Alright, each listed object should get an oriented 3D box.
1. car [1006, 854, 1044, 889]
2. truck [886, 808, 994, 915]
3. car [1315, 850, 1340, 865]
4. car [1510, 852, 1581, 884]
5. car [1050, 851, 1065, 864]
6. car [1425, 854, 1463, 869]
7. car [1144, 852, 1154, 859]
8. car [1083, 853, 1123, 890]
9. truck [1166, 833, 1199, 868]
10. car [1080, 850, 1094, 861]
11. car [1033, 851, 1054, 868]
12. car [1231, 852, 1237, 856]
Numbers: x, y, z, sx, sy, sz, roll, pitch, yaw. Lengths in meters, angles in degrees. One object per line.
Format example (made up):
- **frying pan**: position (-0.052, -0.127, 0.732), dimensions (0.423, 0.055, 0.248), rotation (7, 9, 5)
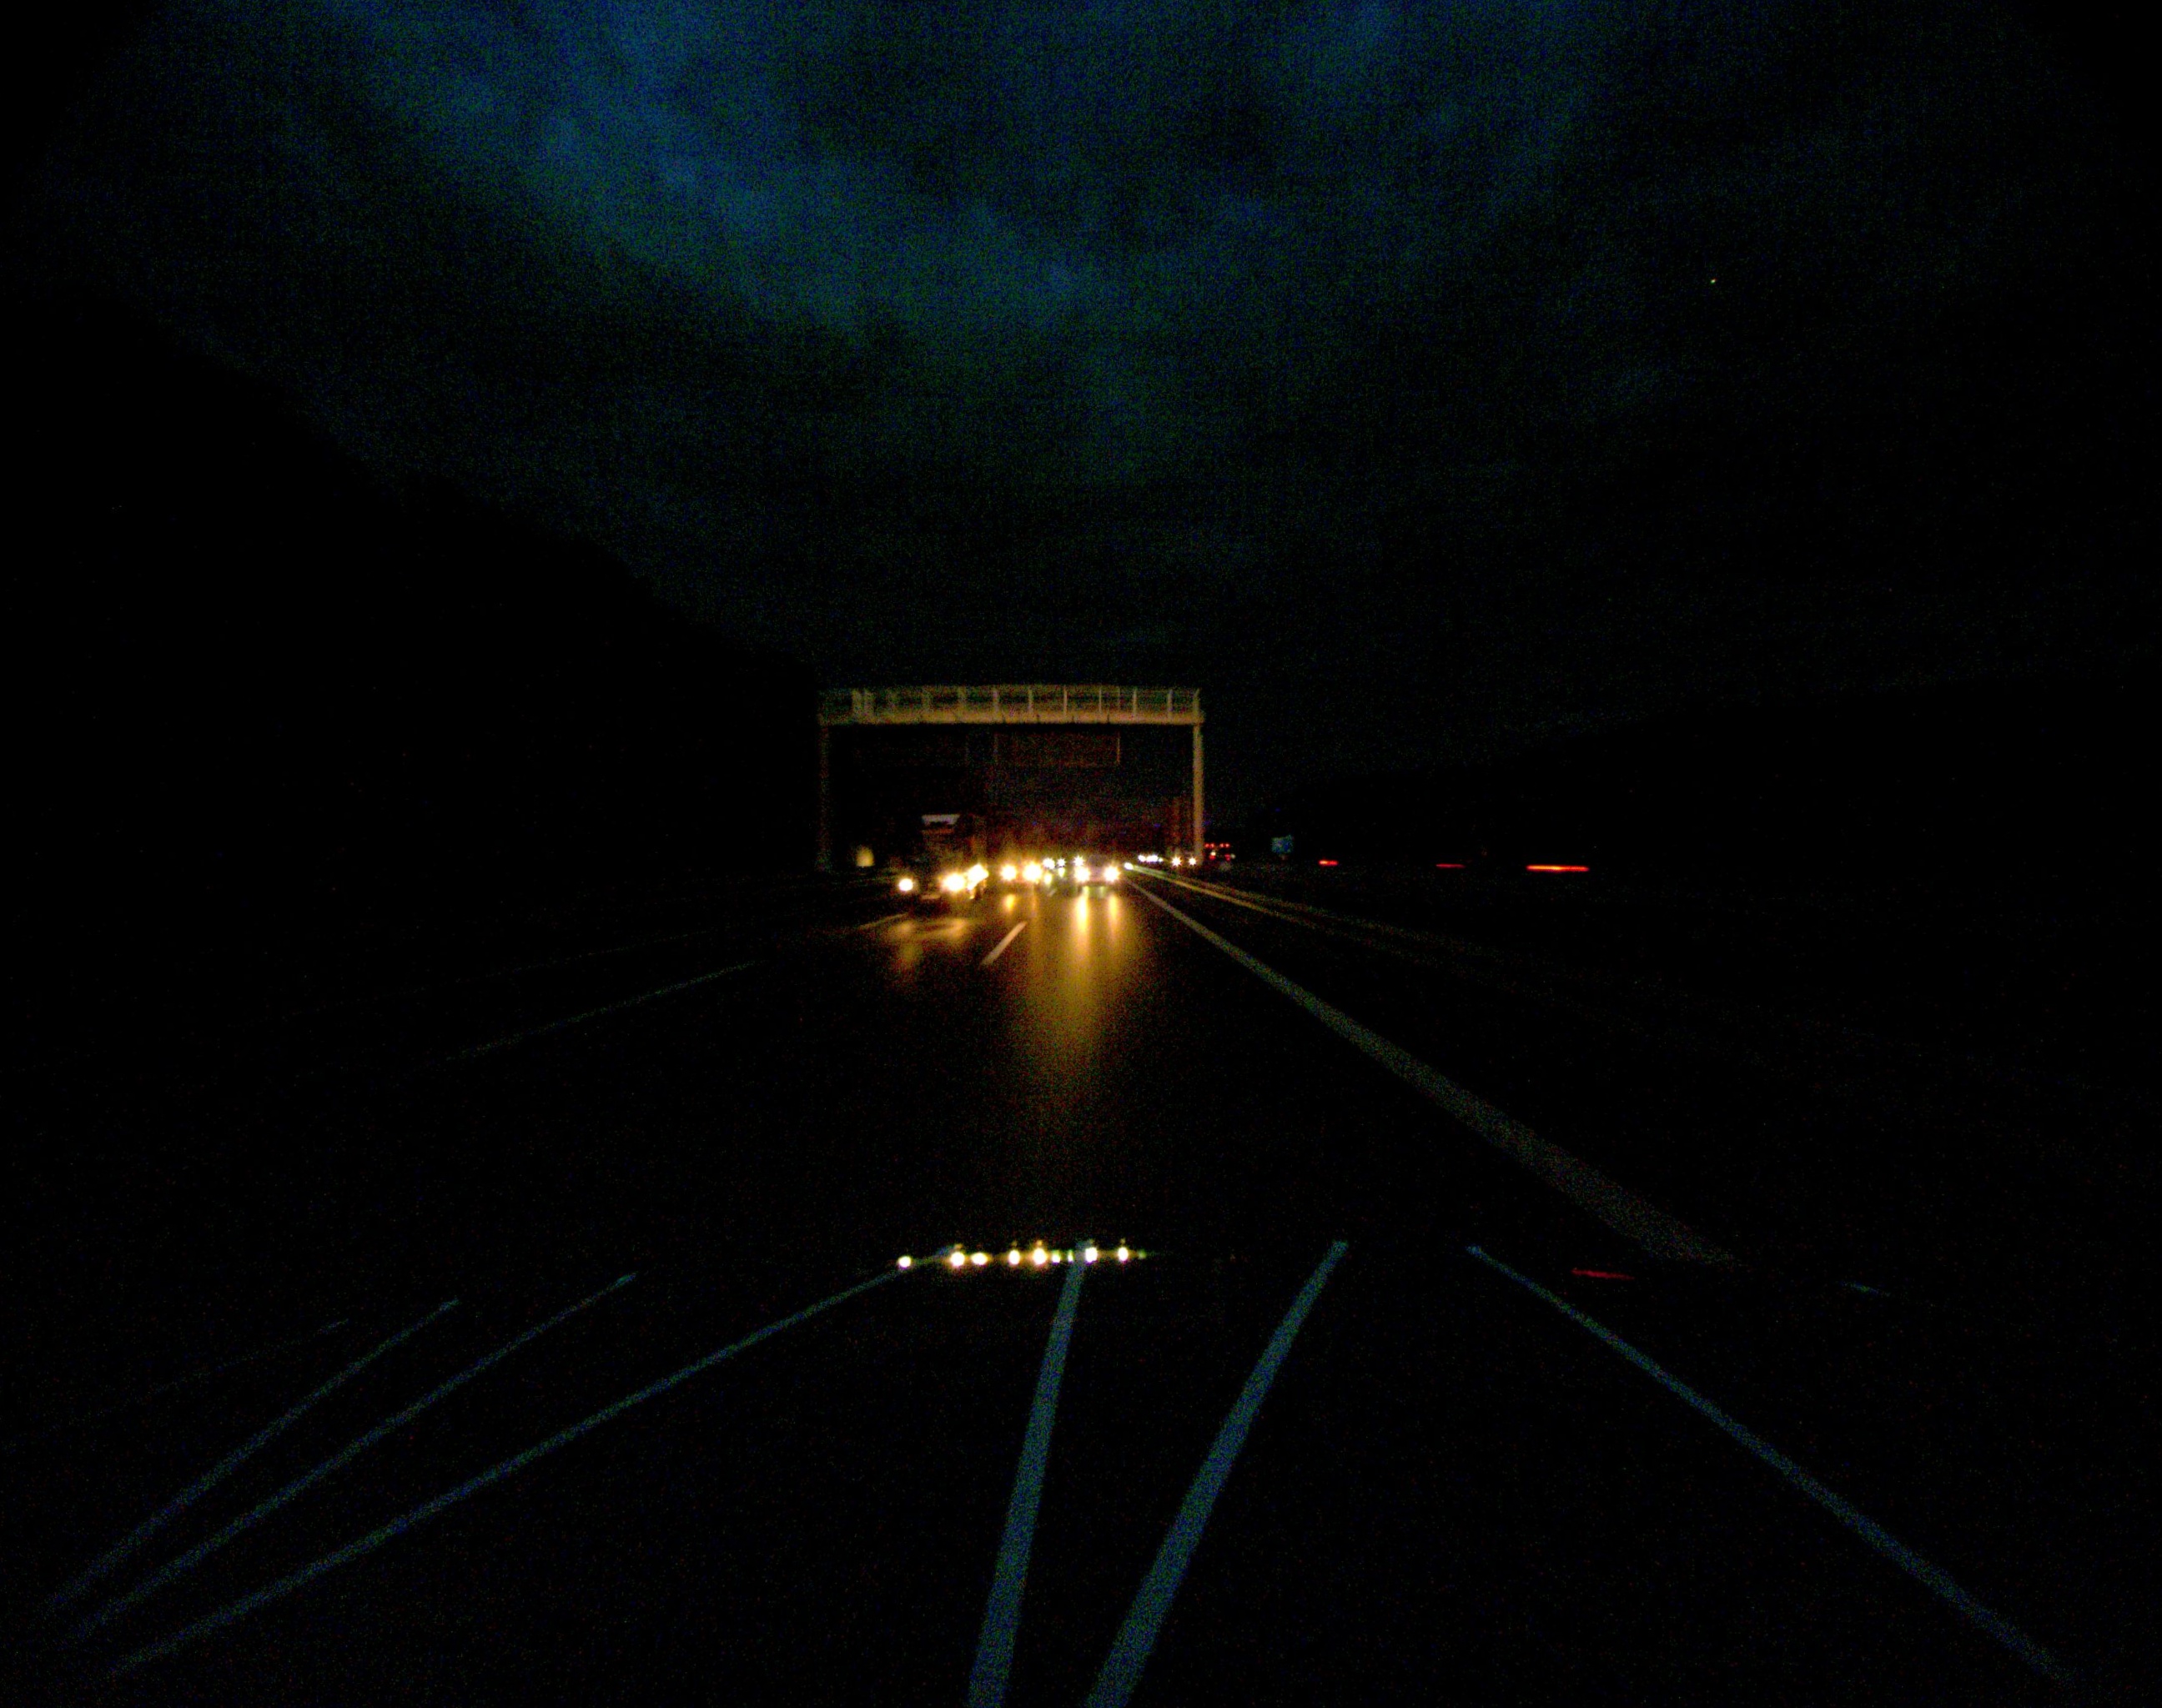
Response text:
- **car**: position (-2.644, 0.807, 36.674), dimensions (1.614, 1.547, 3.318), rotation (0, 1, 0)
- **truck**: position (-4.374, 0.200, 24.914), dimensions (2.274, 2.954, 6.630), rotation (-2, 0, -1)
- **car**: position (34.342, 0.455, 105.871), dimensions (1.998, 2.002, 4.733), rotation (0, 1, 1)
- **car**: position (25.542, 0.731, 41.918), dimensions (1.686, 1.696, 3.752), rotation (-1, 0, 1)
- **car**: position (-2.993, 0.426, 97.897), dimensions (1.803, 1.483, 5.116), rotation (-3, 0, -2)
- **car**: position (35.260, 0.716, 73.965), dimensions (1.772, 1.311, 3.892), rotation (0, 1, -1)
- **car**: position (15.830, 0.367, 177.519), dimensions (1.833, 1.674, 4.228), rotation (-2, 1, 1)
- **car**: position (0.957, 0.744, 34.050), dimensions (1.669, 1.551, 3.756), rotation (0, 0, 1)
- **truck**: position (13.222, -0.487, 99.899), dimensions (3.046, 4.276, 9.890), rotation (0, 1, 1)
- **car**: position (0.914, 0.227, 113.022), dimensions (1.803, 1.483, 4.434), rotation (-3, 0, -2)
- **car**: position (-3.763, 0.516, 77.117), dimensions (1.802, 1.636, 5.160), rotation (0, 0, 0)
- **car**: position (52.110, -0.052, 258.325), dimensions (1.840, 1.434, 4.469), rotation (0, 0, 8)
